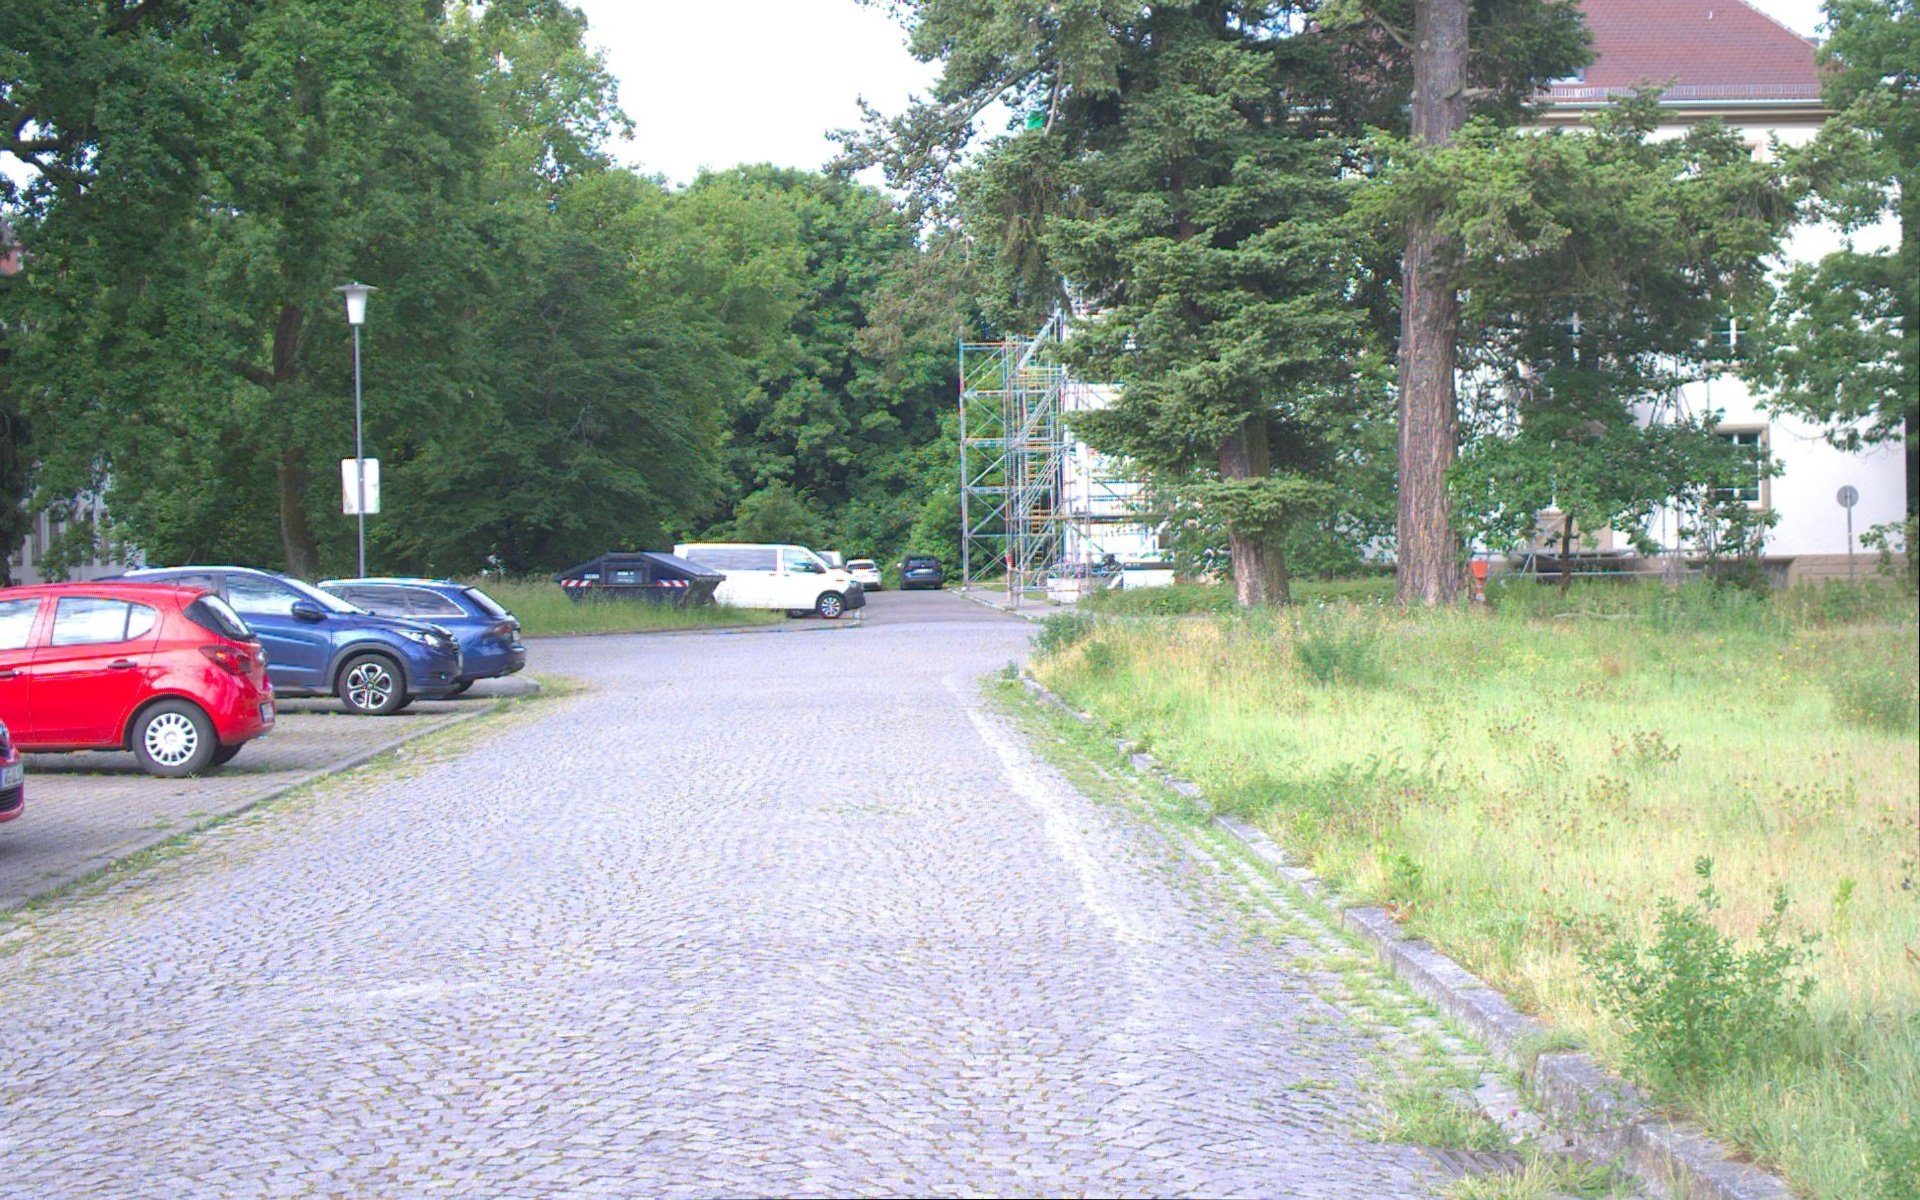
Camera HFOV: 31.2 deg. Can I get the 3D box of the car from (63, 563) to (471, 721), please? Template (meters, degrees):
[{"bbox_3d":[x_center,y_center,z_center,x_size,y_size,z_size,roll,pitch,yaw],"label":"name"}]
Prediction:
[{"bbox_3d":[-7.403,0.430,37.009,4.071,1.598,1.788,-1,1,-3],"label":"car"}]

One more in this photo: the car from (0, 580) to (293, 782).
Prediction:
[{"bbox_3d":[-7.259,0.613,26.760,3.815,1.484,1.788,-1,1,-2],"label":"car"}]

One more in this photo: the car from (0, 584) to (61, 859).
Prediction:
[{"bbox_3d":[-7.163,0.681,19.232,3.815,1.481,1.761,-1,1,-2],"label":"car"}]

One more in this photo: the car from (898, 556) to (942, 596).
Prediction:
[{"bbox_3d":[-1.829,-1.075,157.202,1.790,1.714,4.061,-1,-1,-3],"label":"car"}]

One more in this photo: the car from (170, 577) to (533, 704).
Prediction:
[{"bbox_3d":[-7.340,0.476,41.710,4.071,1.462,1.626,0,1,2],"label":"car"}]

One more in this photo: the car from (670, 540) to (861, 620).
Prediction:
[{"bbox_3d":[-5.118,-0.528,90.744,4.977,2.065,2.052,0,-1,-3],"label":"car"}]

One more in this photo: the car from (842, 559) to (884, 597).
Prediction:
[{"bbox_3d":[-4.442,-0.982,156.823,1.790,1.630,4.061,-1,-1,-3],"label":"car"}]

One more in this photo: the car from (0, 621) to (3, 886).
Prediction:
[{"bbox_3d":[-6.871,0.702,16.450,4.067,1.570,1.955,-1,1,-3],"label":"car"}]
